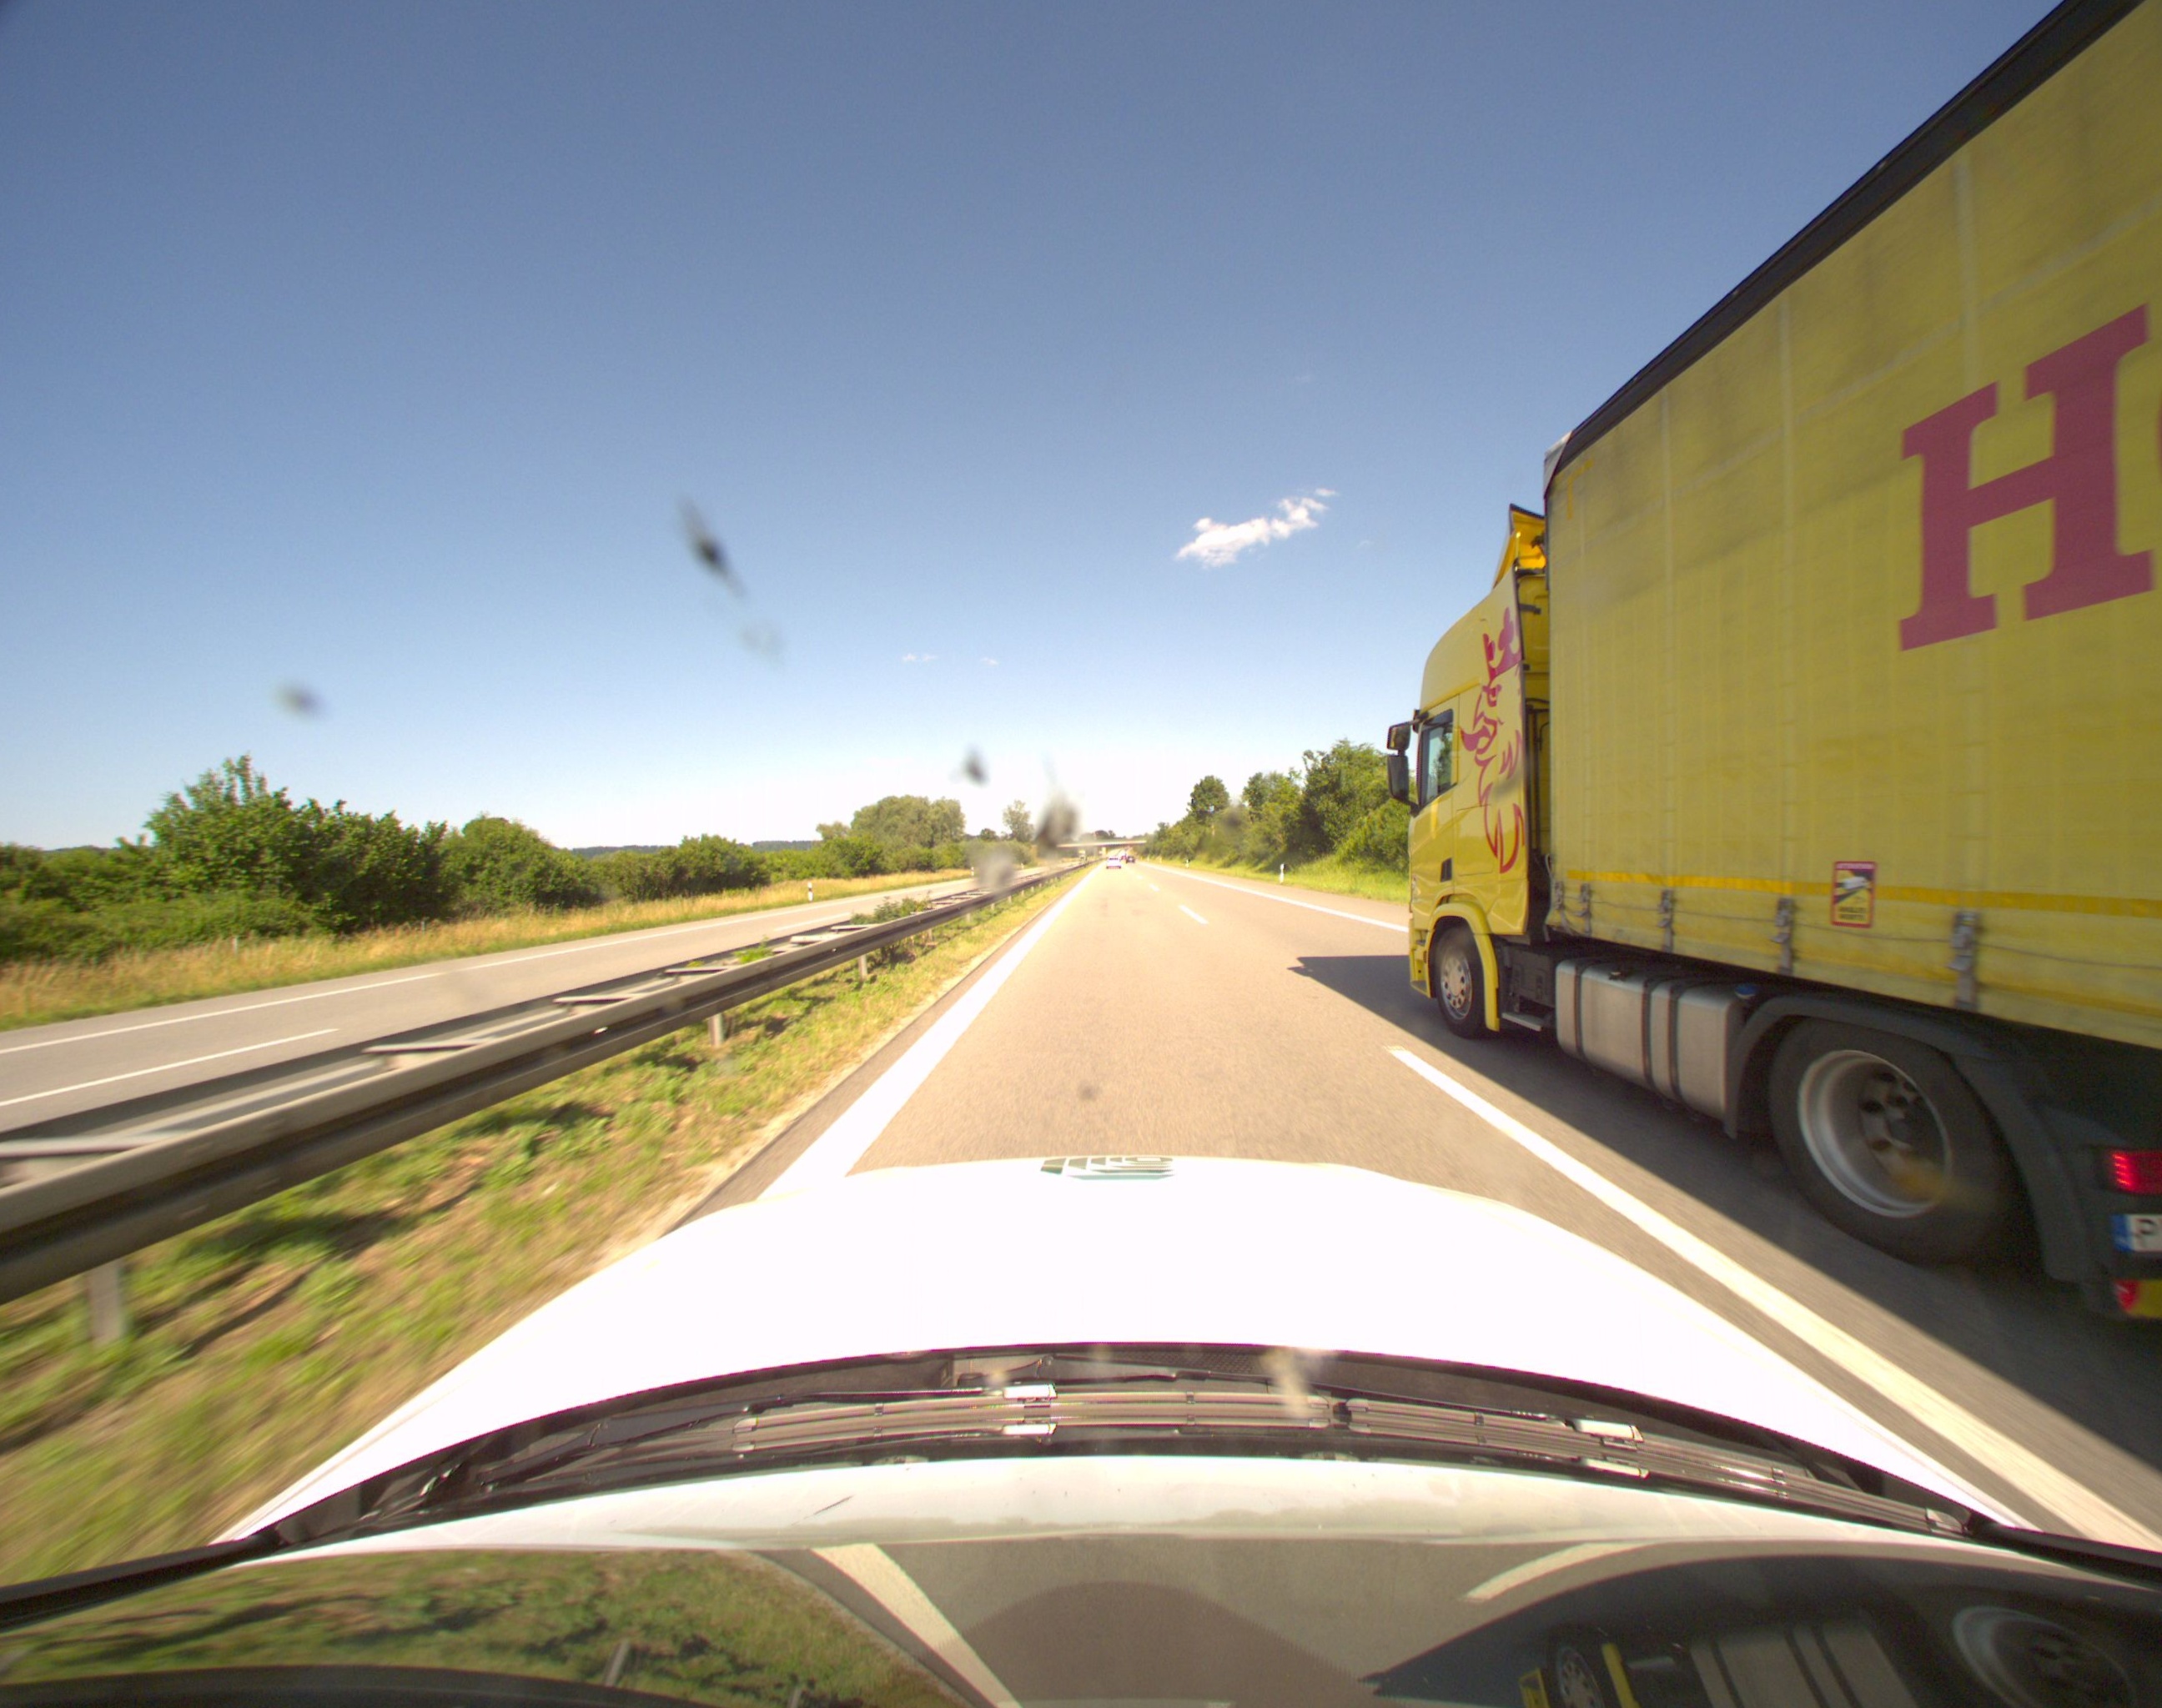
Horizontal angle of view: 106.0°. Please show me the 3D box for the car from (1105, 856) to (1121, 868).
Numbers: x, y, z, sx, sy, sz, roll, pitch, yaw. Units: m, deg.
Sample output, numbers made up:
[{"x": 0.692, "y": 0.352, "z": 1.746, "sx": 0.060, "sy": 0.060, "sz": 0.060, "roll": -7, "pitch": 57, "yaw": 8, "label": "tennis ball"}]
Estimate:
[{"x": 3.847, "y": 0.987, "z": 97.879, "sx": 1.836, "sy": 1.415, "sz": 4.002, "roll": 0, "pitch": 0, "yaw": 2, "label": "car"}]

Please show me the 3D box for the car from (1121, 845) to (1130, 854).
[{"x": 10.014, "y": -1.010, "z": 183.036, "sx": 1.986, "sy": 2.014, "sz": 4.001, "roll": 0, "pitch": 0, "yaw": 2, "label": "car"}]

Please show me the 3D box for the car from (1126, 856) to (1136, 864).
[{"x": 9.940, "y": 1.144, "z": 161.992, "sx": 1.836, "sy": 1.520, "sz": 4.002, "roll": 0, "pitch": 0, "yaw": 2, "label": "car"}]

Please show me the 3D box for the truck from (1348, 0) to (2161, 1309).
[{"x": 4.436, "y": -0.746, "z": 5.559, "sx": 3.158, "sy": 4.114, "sz": 6.388, "roll": 0, "pitch": 0, "yaw": 0, "label": "truck"}]
